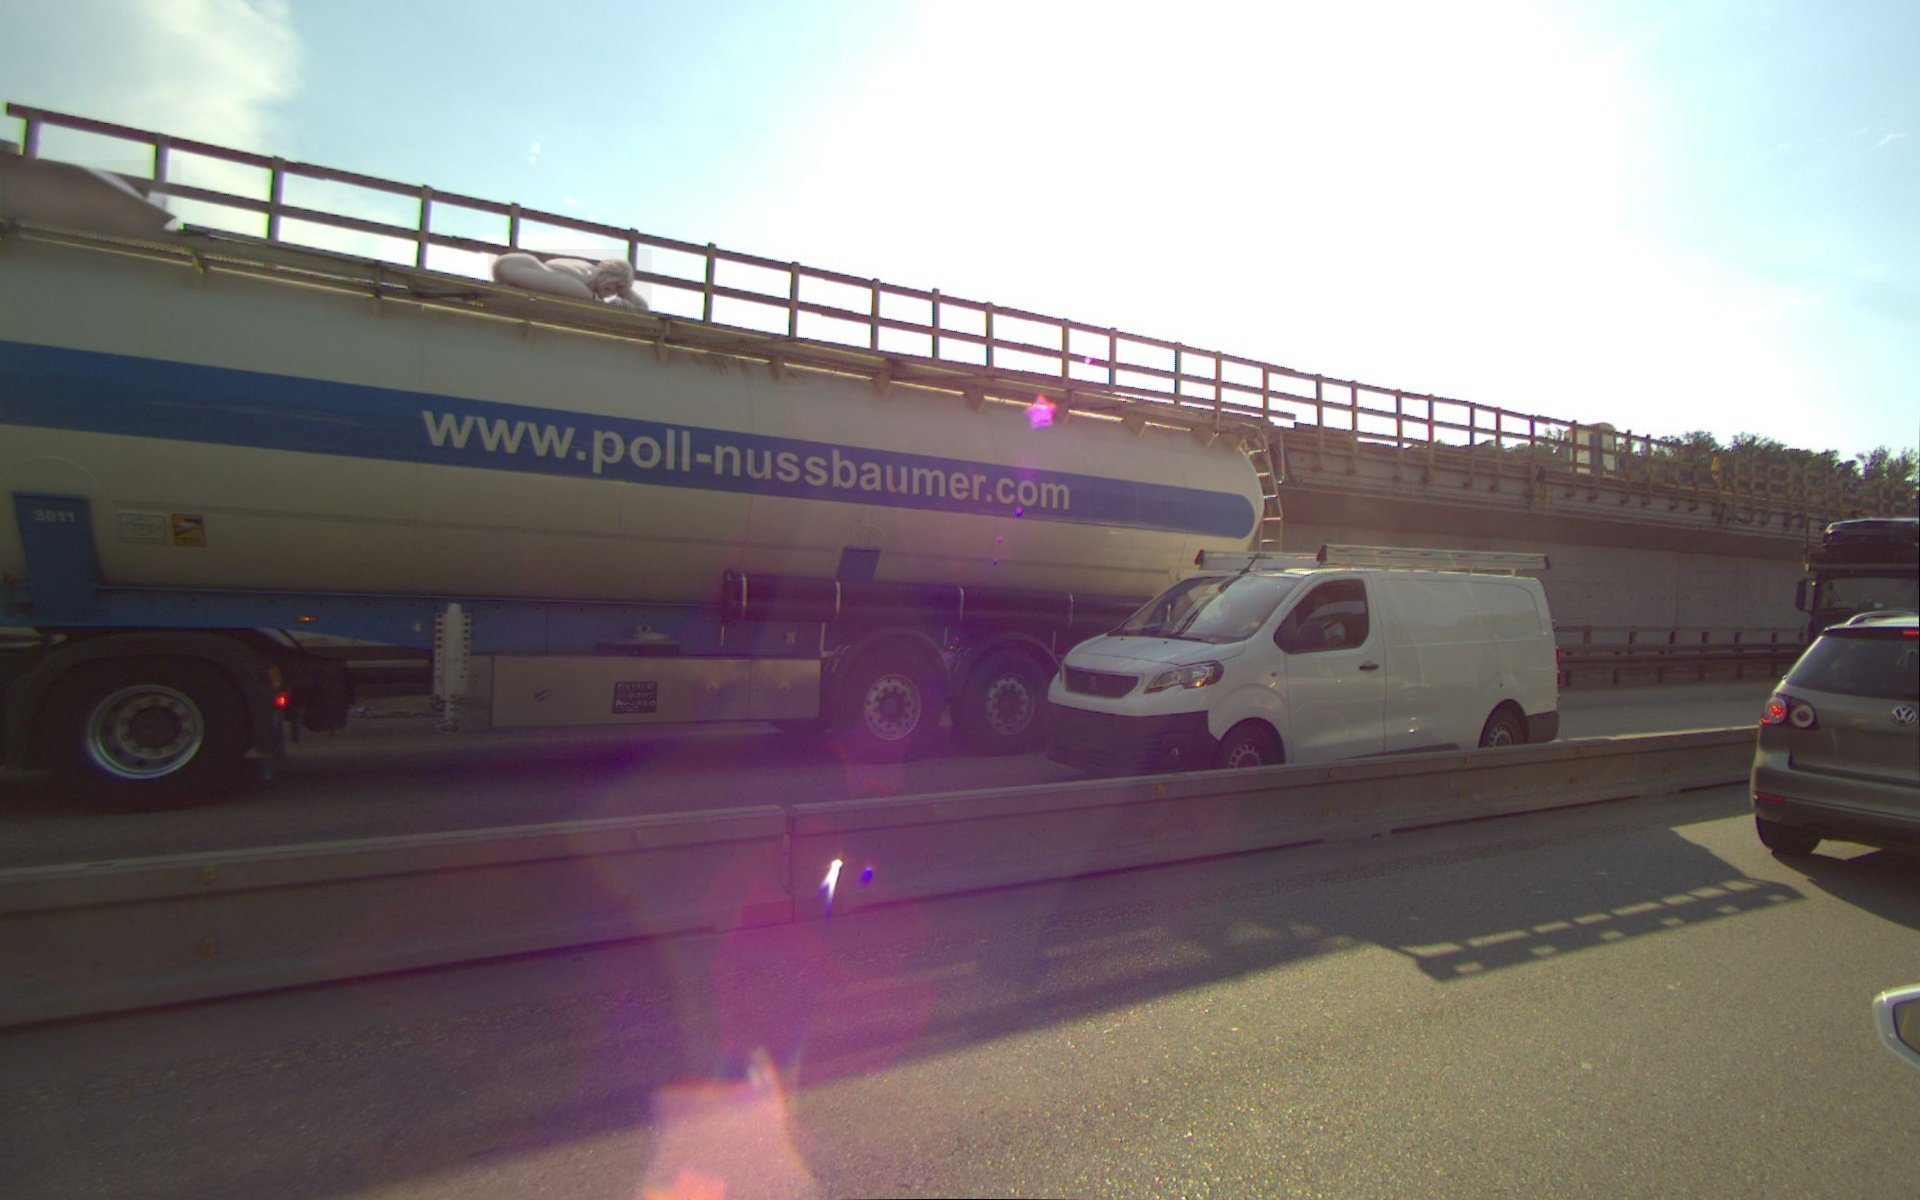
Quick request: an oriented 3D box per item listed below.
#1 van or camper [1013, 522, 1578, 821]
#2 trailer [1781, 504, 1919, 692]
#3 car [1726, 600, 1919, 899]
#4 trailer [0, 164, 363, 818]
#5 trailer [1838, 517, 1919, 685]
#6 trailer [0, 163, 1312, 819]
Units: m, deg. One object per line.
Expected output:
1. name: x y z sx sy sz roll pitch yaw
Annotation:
1. van or camper: 3.172 0.537 9.008 5.236 2.040 1.848 2 0 -32
2. trailer: 23.348 0.028 24.502 7.123 4.084 2.758 2 0 -30
3. car: 6.979 0.877 6.567 4.222 1.609 1.672 2 -1 -31
4. trailer: -7.582 -0.697 6.429 6.355 3.902 2.639 2 0 -31
5. trailer: 29.887 0.220 28.426 15.579 4.084 2.758 2 0 -31
6. trailer: -2.231 -0.540 9.626 13.289 3.902 2.639 2 0 -31
